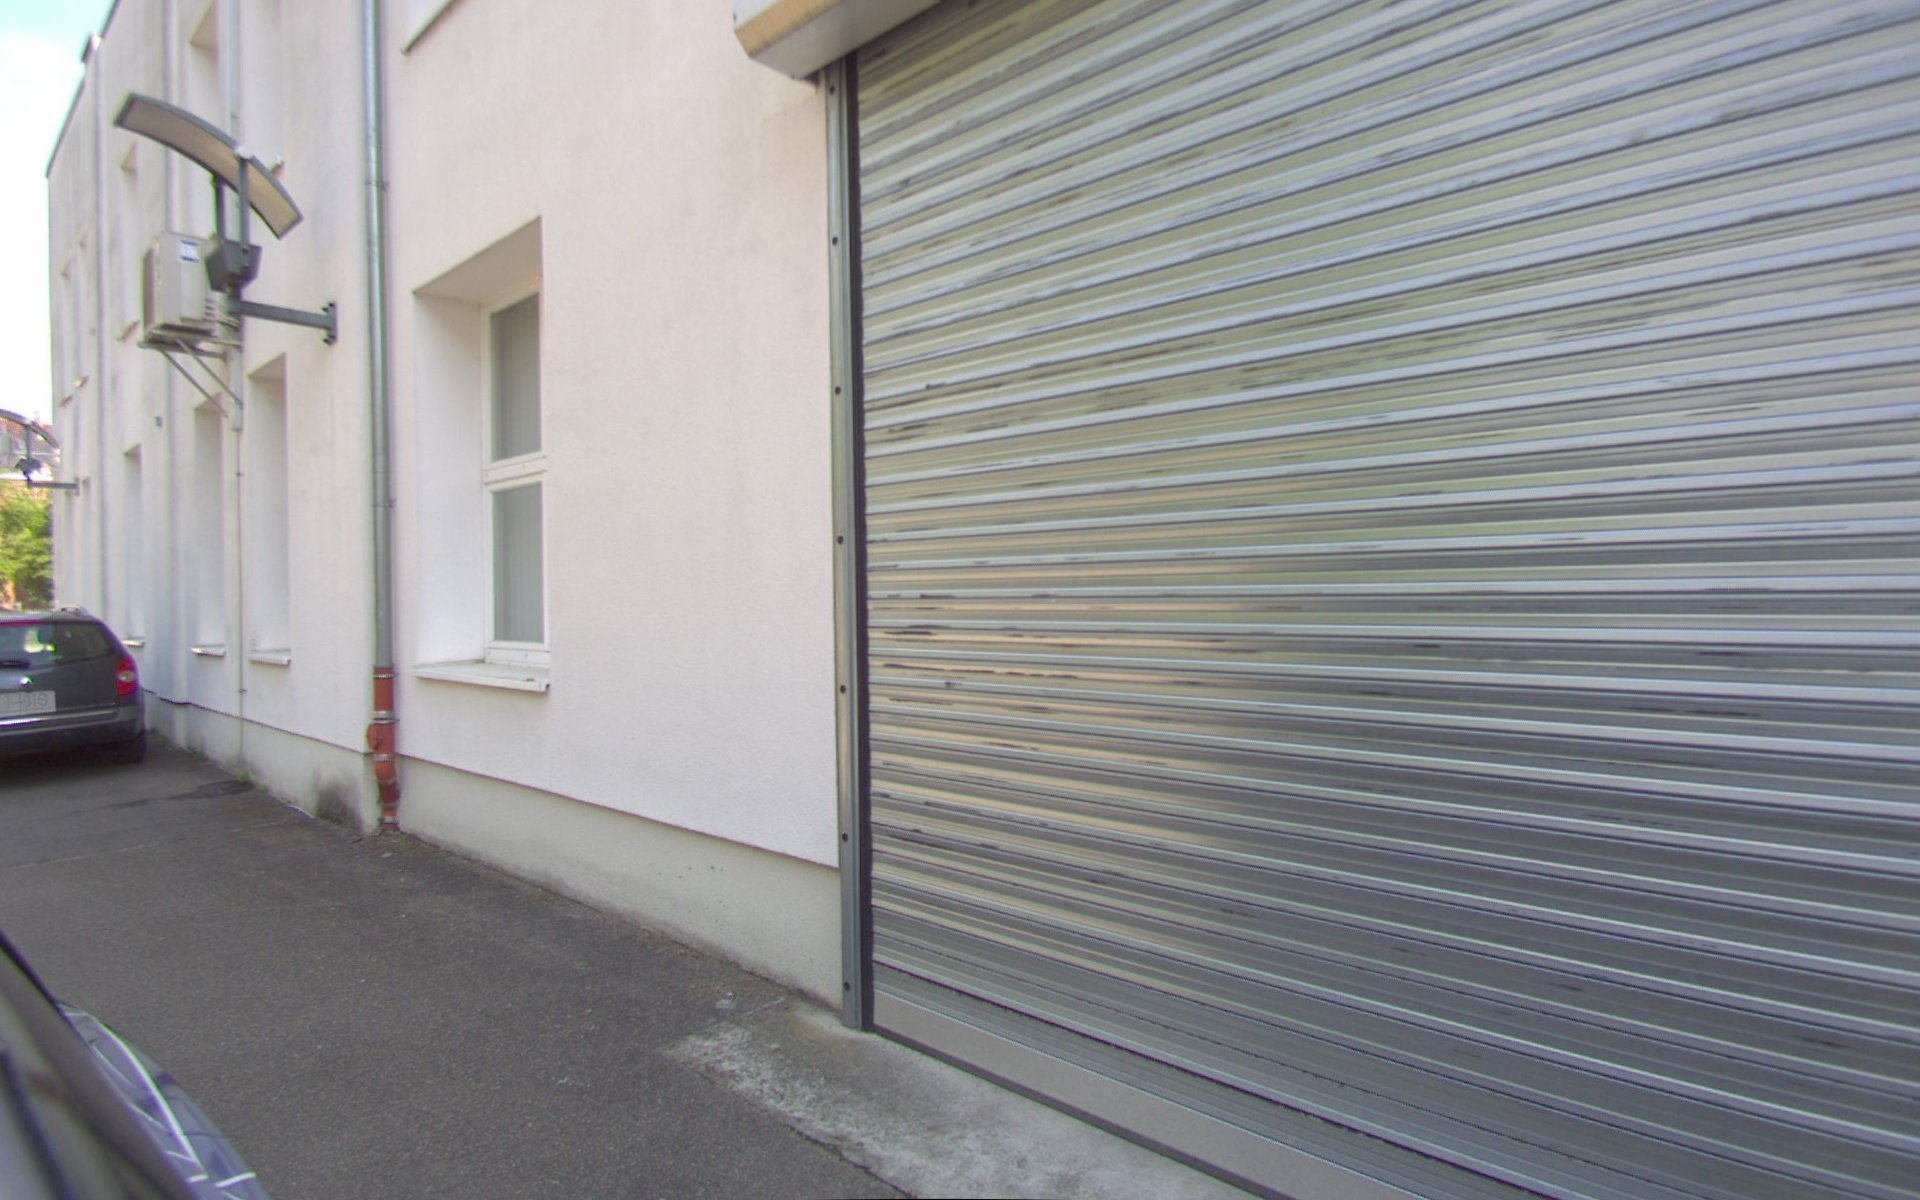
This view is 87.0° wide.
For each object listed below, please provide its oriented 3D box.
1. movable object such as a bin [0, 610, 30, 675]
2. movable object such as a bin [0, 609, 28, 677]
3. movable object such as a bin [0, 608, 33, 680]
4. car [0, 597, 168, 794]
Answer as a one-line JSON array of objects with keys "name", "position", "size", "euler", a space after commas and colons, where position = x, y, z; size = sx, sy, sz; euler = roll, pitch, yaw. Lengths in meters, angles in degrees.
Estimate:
[{"name": "movable object such as a bin", "position": [-22.044, 0.967, 22.874], "size": [1.219, 1.442, 1.235], "euler": [-1, 0, 32]}, {"name": "movable object such as a bin", "position": [-21.072, 0.932, 21.882], "size": [1.365, 1.442, 1.231], "euler": [-1, -1, 42]}, {"name": "movable object such as a bin", "position": [-19.993, 0.904, 20.822], "size": [1.349, 1.442, 1.231], "euler": [-1, -1, 42]}, {"name": "car", "position": [-9.187, 0.773, 9.634], "size": [4.429, 1.452, 1.817], "euler": [1, 4, 42]}]
